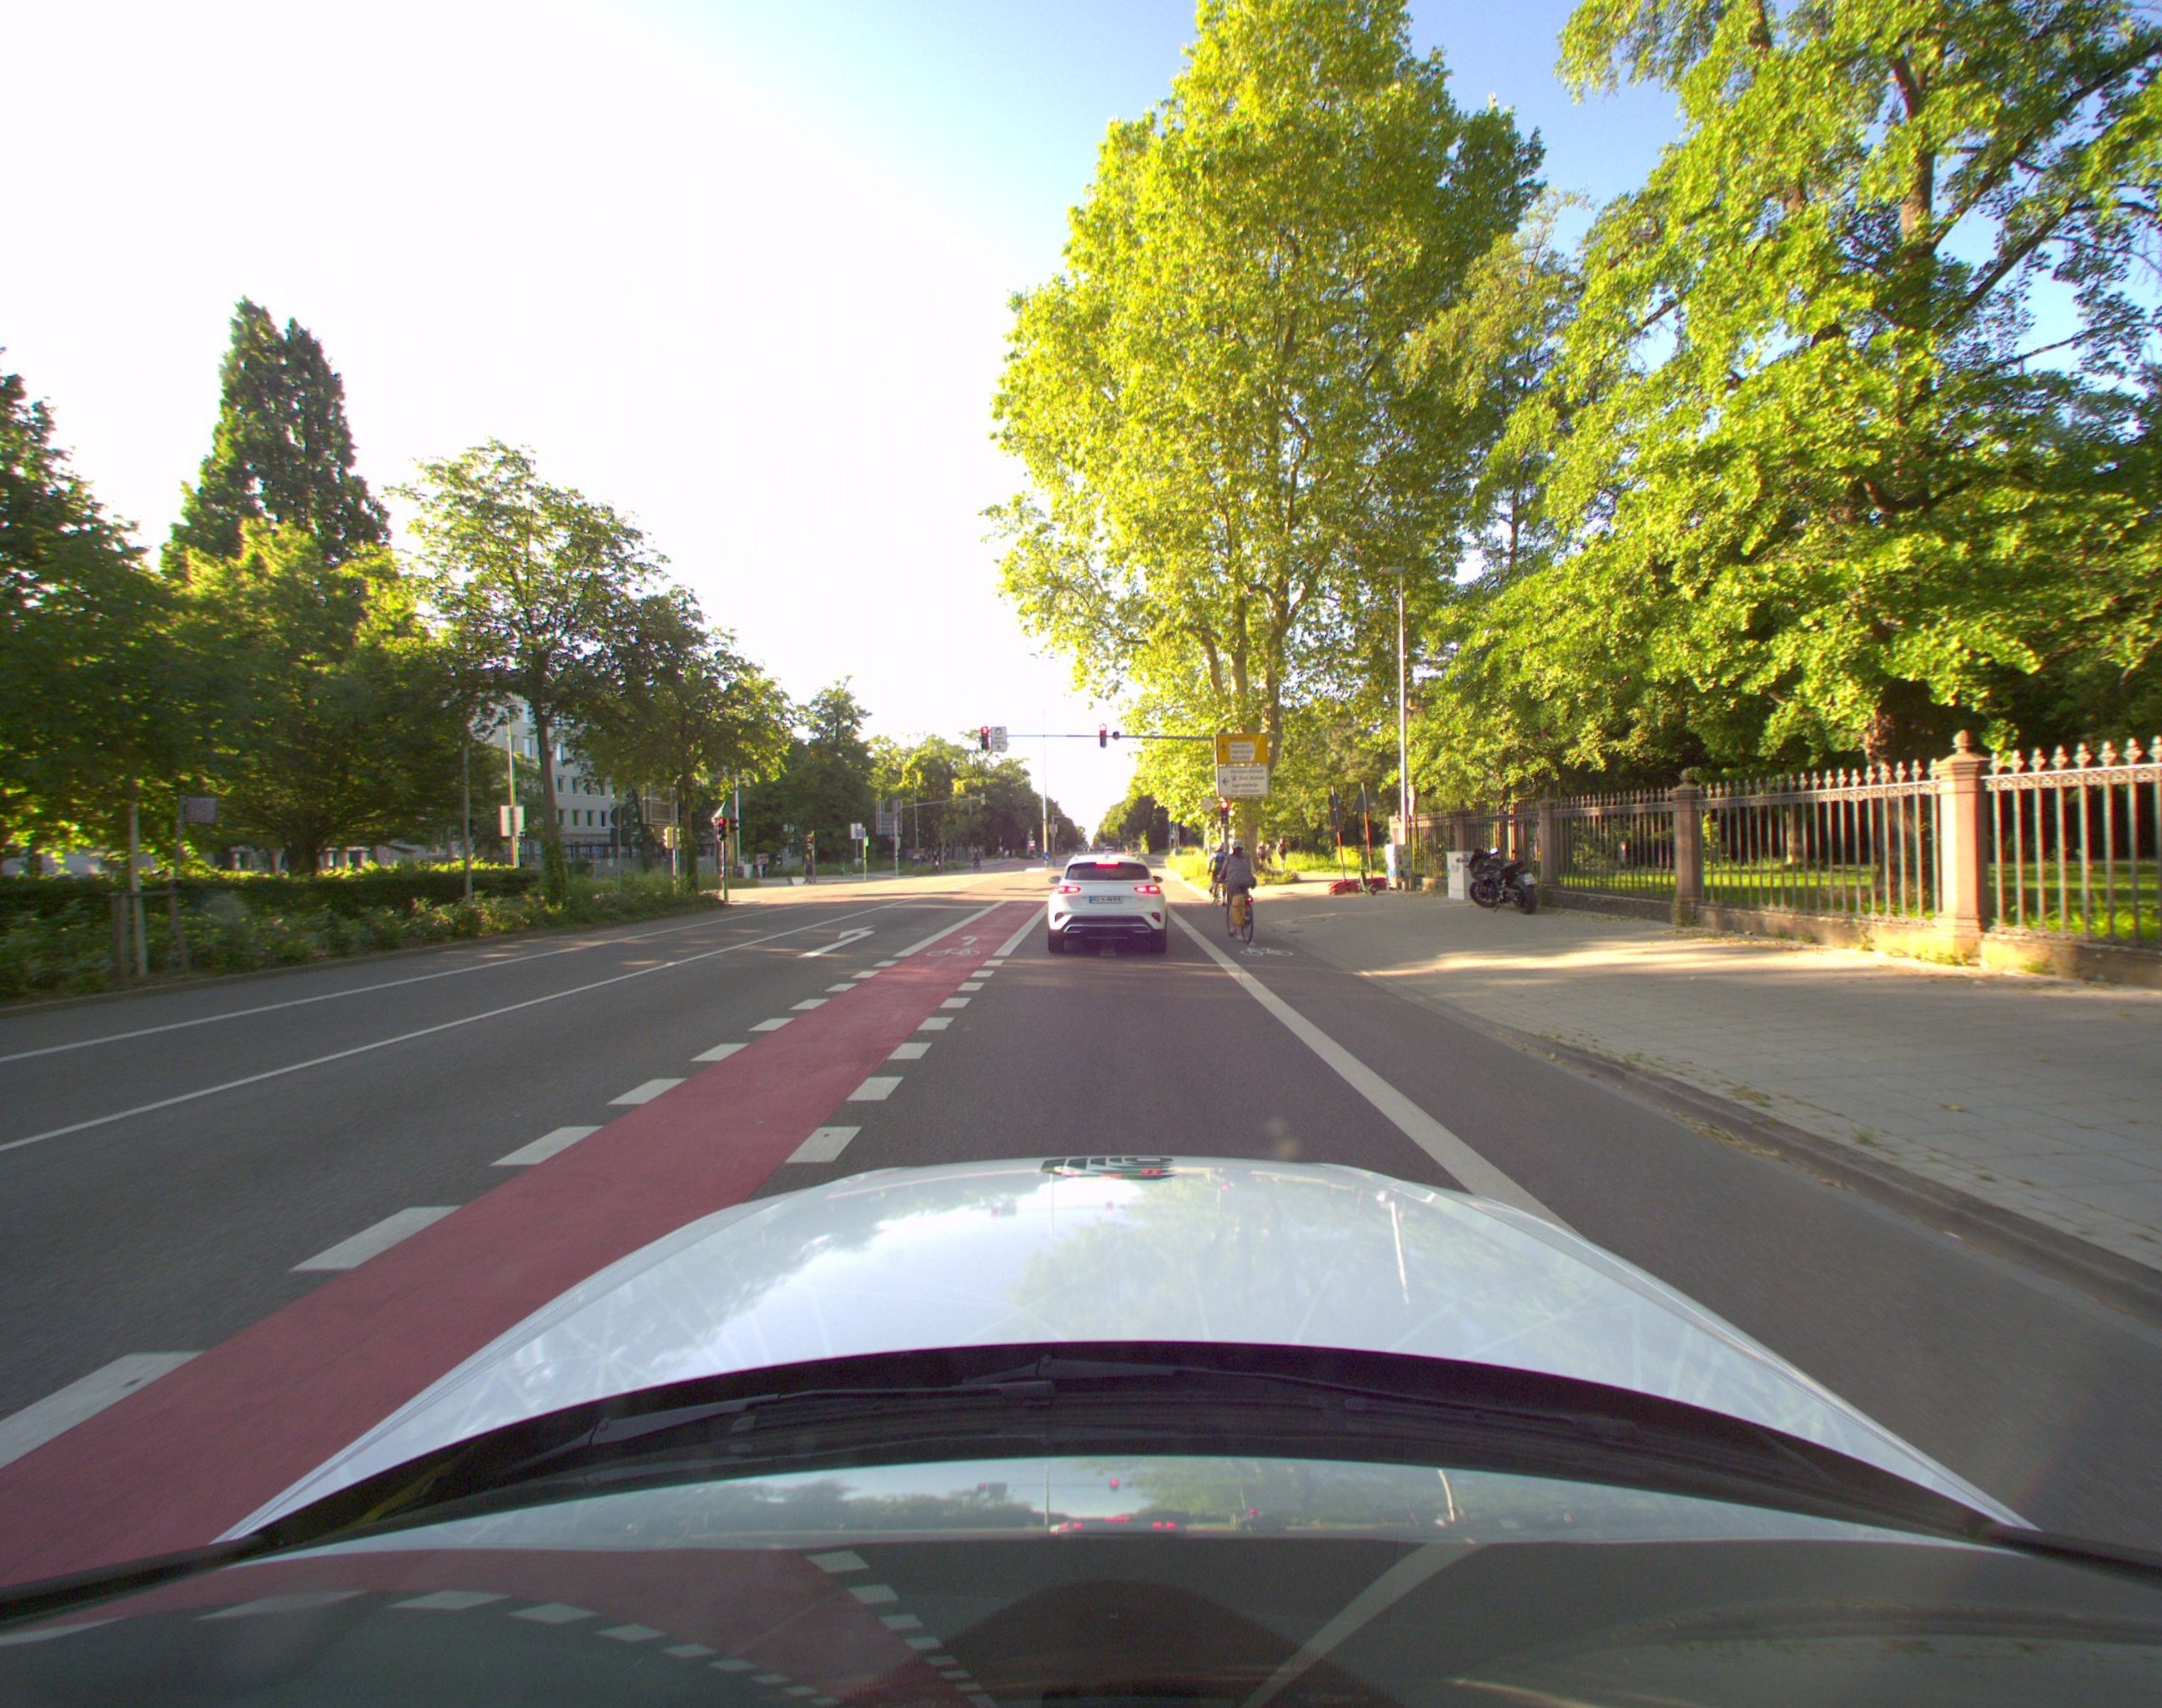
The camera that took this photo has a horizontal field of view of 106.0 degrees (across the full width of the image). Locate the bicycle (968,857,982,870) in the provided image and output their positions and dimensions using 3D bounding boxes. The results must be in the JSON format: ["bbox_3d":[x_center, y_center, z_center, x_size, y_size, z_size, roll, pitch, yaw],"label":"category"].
[{"bbox_3d":[-8.726,0.796,67.165,0.660,0.989,2.507,-2,0,4],"label":"bicycle"}]

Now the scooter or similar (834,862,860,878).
[{"bbox_3d":[-17.960,1.218,62.561,0.703,1.124,1.933,-1,0,35],"label":"scooter or similar"}]

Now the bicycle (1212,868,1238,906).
[{"bbox_3d":[3.950,0.894,22.442,0.400,0.956,1.551,-4,0,1],"label":"bicycle"}]

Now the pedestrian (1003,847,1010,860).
[{"bbox_3d":[-10.204,-0.047,111.937,0.781,1.785,0.752,-1,0,2],"label":"pedestrian"}]

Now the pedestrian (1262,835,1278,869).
[{"bbox_3d":[10.082,-0.096,43.396,0.614,1.771,0.646,-2,0,-5],"label":"pedestrian"}]

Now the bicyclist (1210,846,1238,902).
[{"bbox_3d":[3.927,0.550,22.401,0.552,1.478,0.717,-4,0,1],"label":"bicyclist"}]

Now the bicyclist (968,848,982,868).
[{"bbox_3d":[-8.745,0.306,67.149,0.871,1.608,1.190,-2,0,4],"label":"bicyclist"}]

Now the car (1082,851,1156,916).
[{"bbox_3d":[0.934,0.711,21.331,1.722,1.483,3.517,-2,0,1],"label":"car"}]

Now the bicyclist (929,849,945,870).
[{"bbox_3d":[-11.411,0.398,64.471,0.869,1.606,0.980,-2,0,10],"label":"bicyclist"}]

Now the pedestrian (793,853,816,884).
[{"bbox_3d":[-18.243,0.948,53.737,0.989,2.014,1.193,-1,0,7],"label":"pedestrian"}]

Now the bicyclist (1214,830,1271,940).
[{"bbox_3d":[2.749,0.500,13.957,0.750,1.795,1.165,0,0,1],"label":"bicyclist"}]

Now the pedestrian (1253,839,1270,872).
[{"bbox_3d":[9.537,0.070,43.091,0.688,1.699,0.643,-2,0,-4],"label":"pedestrian"}]

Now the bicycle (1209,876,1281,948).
[{"bbox_3d":[2.746,0.934,13.925,0.755,1.013,2.570,0,0,1],"label":"bicycle"}]

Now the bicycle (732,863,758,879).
[{"bbox_3d":[-25.215,1.296,61.091,1.848,1.148,0.444,-1,0,13],"label":"bicycle"}]

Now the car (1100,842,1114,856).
[{"bbox_3d":[3.859,-0.708,122.275,1.986,2.013,4.002,-2,0,2],"label":"car"}]

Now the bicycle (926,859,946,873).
[{"bbox_3d":[-11.416,0.918,64.339,0.576,0.989,2.723,-2,0,10],"label":"bicycle"}]

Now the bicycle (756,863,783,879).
[{"bbox_3d":[-23.241,1.285,60.814,1.858,1.148,0.290,-1,0,-5],"label":"bicycle"}]

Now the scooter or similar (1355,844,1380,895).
[{"bbox_3d":[7.595,0.396,21.638,0.227,1.327,1.172,-2,0,1],"label":"scooter or similar"}]

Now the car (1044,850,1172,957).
[{"bbox_3d":[0.420,0.698,13.646,1.815,1.480,3.937,-1,0,1],"label":"car"}]

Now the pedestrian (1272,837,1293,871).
[{"bbox_3d":[10.812,0.008,43.700,0.816,1.771,0.831,-2,0,-5],"label":"pedestrian"}]

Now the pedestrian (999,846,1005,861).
[{"bbox_3d":[-10.821,-0.056,111.500,0.637,2.014,0.756,-1,0,12],"label":"pedestrian"}]

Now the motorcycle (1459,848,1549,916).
[{"bbox_3d":[7.729,0.485,15.010,0.504,1.131,2.171,-3,0,1],"label":"motorcycle"}]
